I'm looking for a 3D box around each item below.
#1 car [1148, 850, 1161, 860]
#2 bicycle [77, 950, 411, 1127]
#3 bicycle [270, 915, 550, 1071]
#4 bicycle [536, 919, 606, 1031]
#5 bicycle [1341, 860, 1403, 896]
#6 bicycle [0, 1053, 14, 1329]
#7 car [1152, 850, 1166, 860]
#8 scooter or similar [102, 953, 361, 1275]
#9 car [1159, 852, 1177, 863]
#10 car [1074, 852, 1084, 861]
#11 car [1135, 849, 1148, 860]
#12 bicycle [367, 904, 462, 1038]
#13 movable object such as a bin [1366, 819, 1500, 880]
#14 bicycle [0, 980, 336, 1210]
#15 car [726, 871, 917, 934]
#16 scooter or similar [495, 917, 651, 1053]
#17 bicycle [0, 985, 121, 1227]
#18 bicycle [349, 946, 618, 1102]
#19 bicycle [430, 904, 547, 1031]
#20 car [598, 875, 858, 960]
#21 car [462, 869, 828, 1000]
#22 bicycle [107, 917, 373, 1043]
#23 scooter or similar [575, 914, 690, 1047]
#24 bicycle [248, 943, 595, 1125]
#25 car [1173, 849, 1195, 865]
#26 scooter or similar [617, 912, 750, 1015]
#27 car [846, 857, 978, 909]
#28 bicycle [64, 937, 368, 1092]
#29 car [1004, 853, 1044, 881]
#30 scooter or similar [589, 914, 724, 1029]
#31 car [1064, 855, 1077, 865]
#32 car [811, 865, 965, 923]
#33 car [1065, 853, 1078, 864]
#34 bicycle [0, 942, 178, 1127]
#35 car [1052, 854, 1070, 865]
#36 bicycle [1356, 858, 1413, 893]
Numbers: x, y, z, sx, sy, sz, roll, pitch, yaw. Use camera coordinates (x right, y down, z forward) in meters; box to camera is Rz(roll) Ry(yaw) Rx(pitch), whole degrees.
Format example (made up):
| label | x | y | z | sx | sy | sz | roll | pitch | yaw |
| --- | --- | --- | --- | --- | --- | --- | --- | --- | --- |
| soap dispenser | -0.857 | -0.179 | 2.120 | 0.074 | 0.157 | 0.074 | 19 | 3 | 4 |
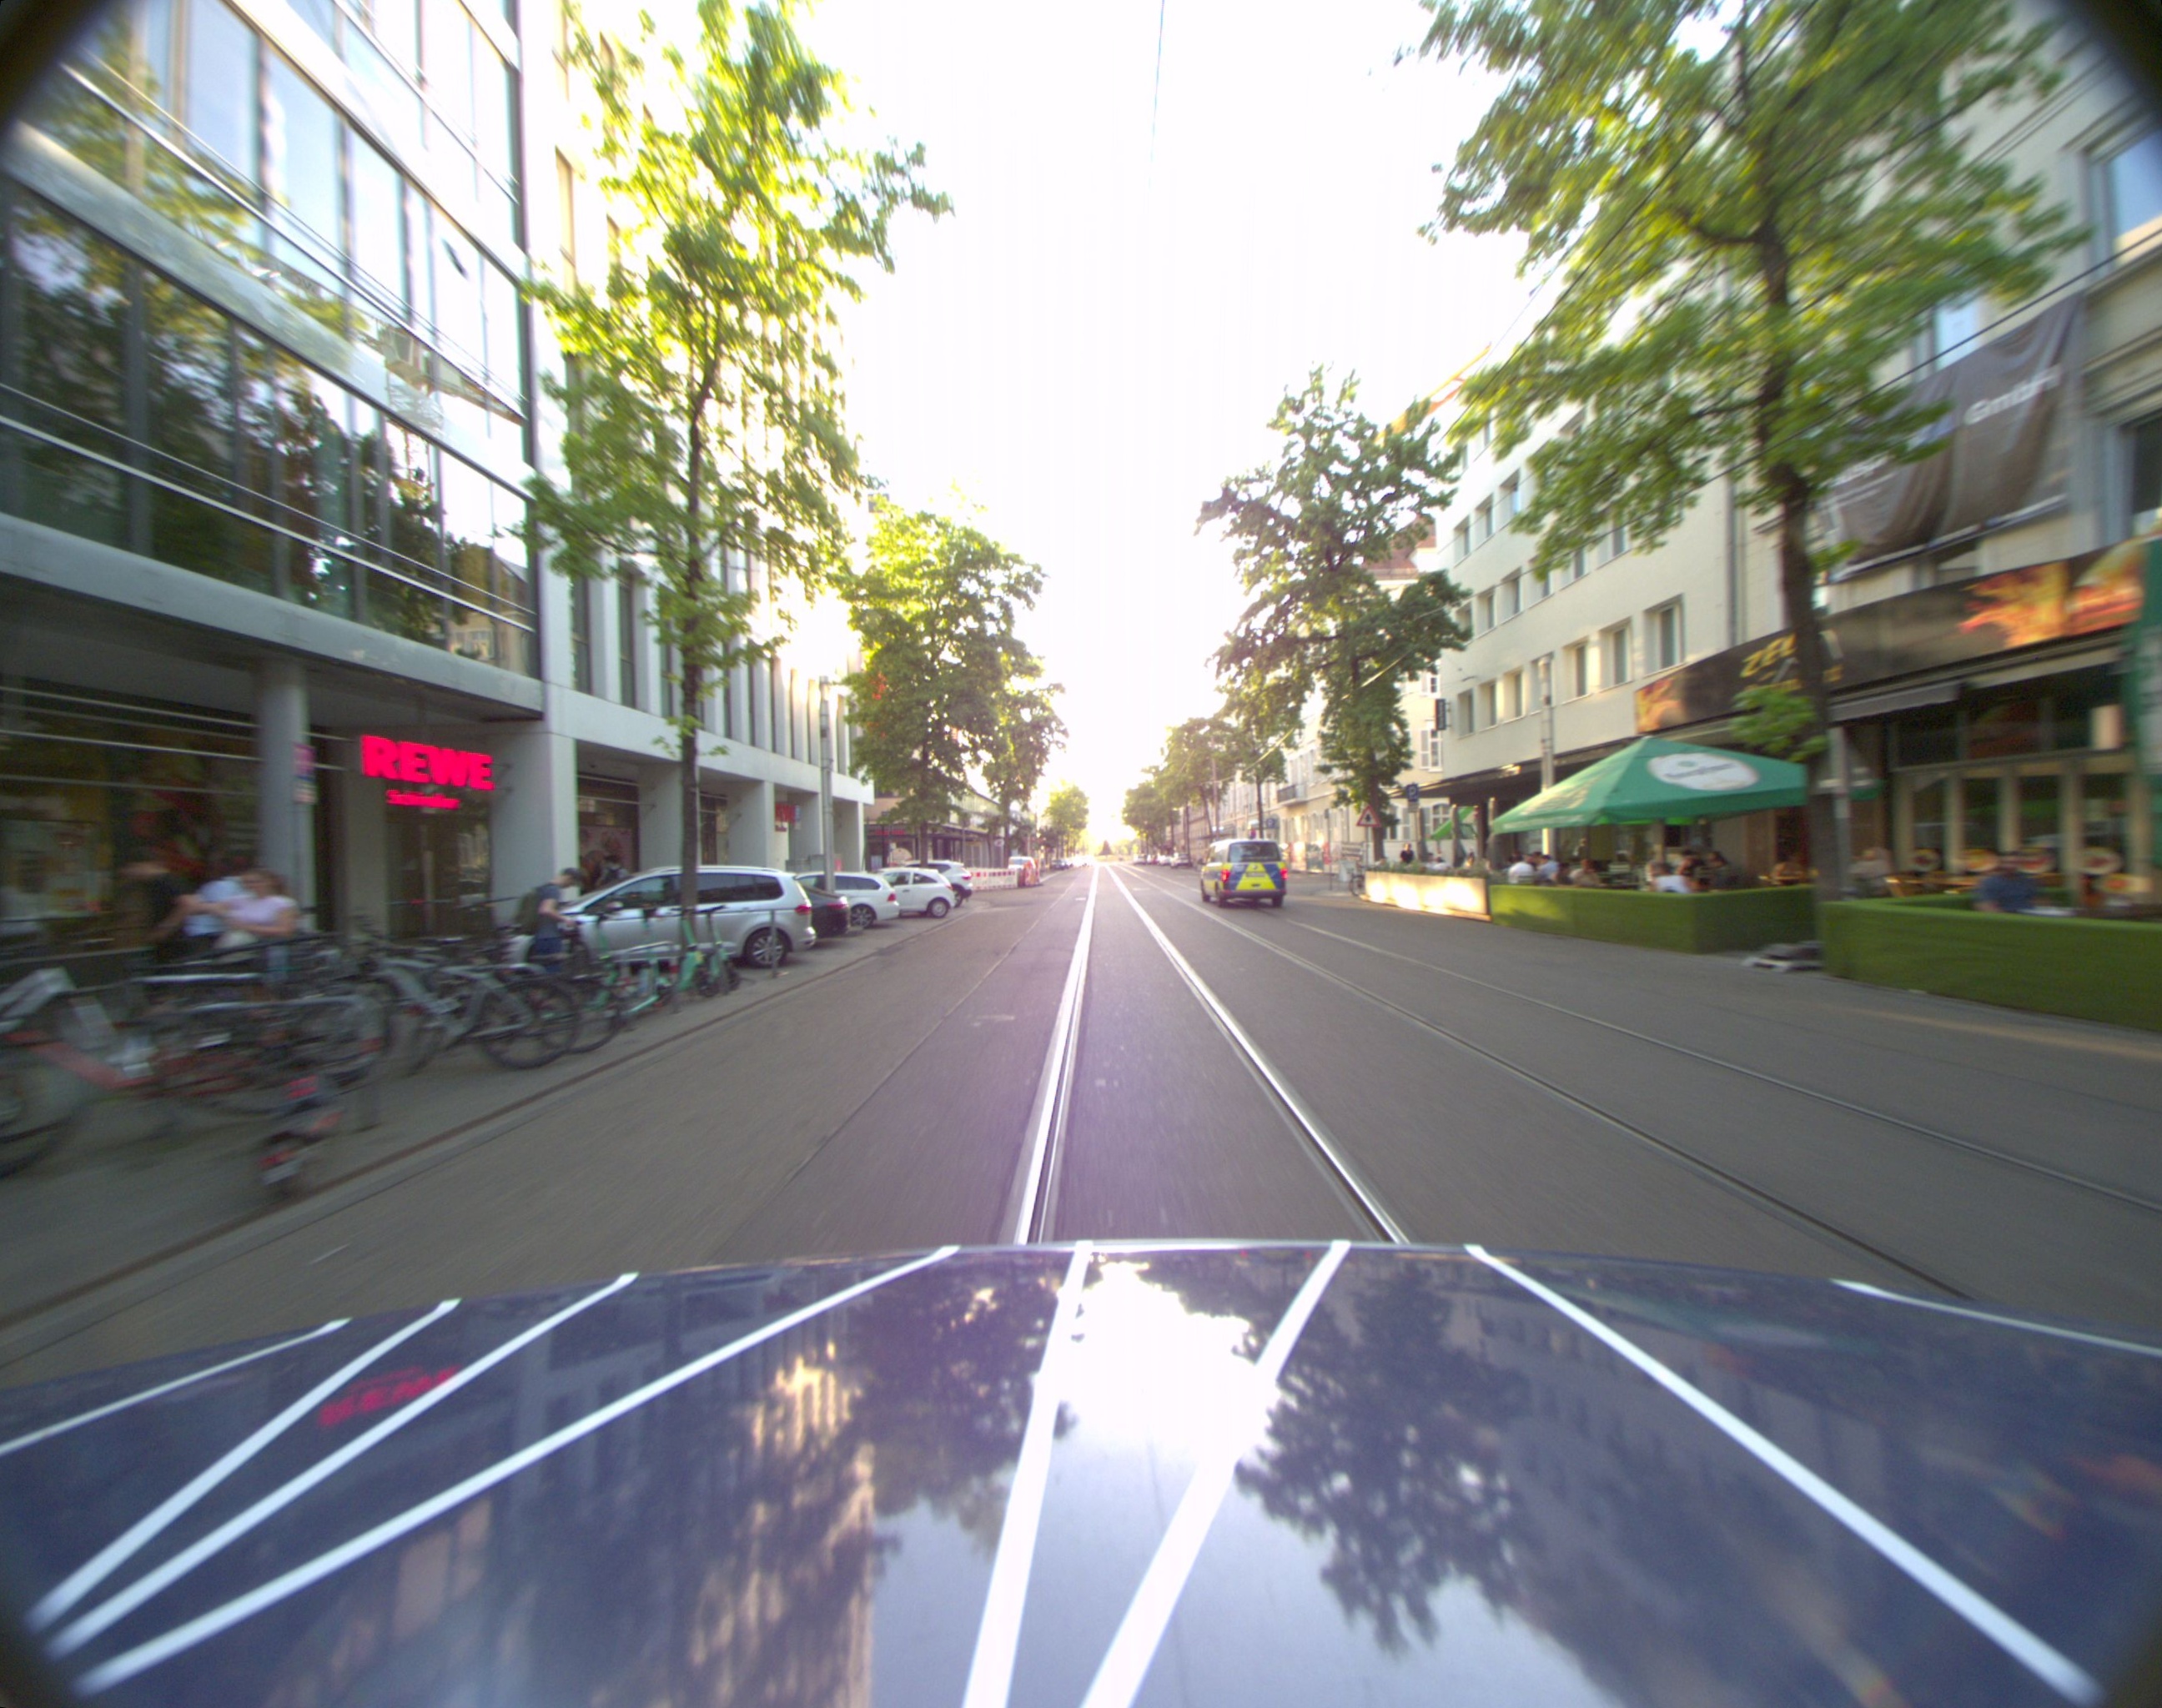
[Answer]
| label | x | y | z | sx | sy | sz | roll | pitch | yaw |
| --- | --- | --- | --- | --- | --- | --- | --- | --- | --- |
| car | 12.557 | 0.169 | 129.395 | 1.998 | 1.540 | 4.106 | -2 | 0 | 3 |
| bicycle | -6.269 | 1.346 | 5.789 | 1.688 | 1.132 | 0.478 | 1 | 0 | -18 |
| bicycle | -6.158 | 1.237 | 7.094 | 1.834 | 1.266 | 0.680 | 1 | 0 | -17 |
| bicycle | -6.149 | 1.388 | 9.166 | 0.632 | 1.070 | 1.875 | 1 | -1 | -34 |
| bicycle | 9.977 | 0.814 | 26.066 | 1.865 | 1.132 | 0.626 | -2 | 1 | -1 |
| bicycle | -5.013 | 1.388 | 2.376 | 1.752 | 1.110 | 0.805 | -1 | 0 | -30 |
| car | 12.599 | 0.181 | 123.393 | 1.998 | 1.567 | 4.106 | -2 | 0 | 3 |
| scooter or similar | -4.624 | 1.291 | 4.252 | 0.698 | 1.296 | 1.389 | -1 | 0 | -37 |
| car | 11.806 | 0.469 | 103.298 | 1.998 | 1.494 | 4.105 | -2 | 0 | 1 |
| car | -0.383 | 0.443 | 142.694 | 1.738 | 1.727 | 4.105 | -2 | 0 | 1 |
| car | 9.990 | 0.115 | 125.163 | 1.998 | 1.727 | 4.106 | -2 | 0 | 3 |
| bicycle | -7.455 | 1.243 | 8.476 | 1.590 | 1.281 | 0.581 | 0 | 0 | 41 |
| movable object such as a bin | 17.683 | -0.247 | 38.395 | 5.561 | 2.856 | 2.643 | -1 | 1 | -1 |
| bicycle | -5.702 | 1.365 | 4.424 | 1.836 | 1.070 | 0.622 | 1 | -1 | -30 |
| car | -6.473 | 1.168 | 19.131 | 4.355 | 1.414 | 1.825 | 1 | 0 | -21 |
| scooter or similar | -5.263 | 1.309 | 7.953 | 0.569 | 1.198 | 1.283 | 0 | 0 | 16 |
| bicycle | -6.582 | 1.332 | 3.899 | 2.002 | 1.141 | 0.697 | 1 | 0 | -17 |
| bicycle | -4.997 | 1.388 | 6.502 | 1.751 | 1.070 | 0.493 | 0 | 0 | -29 |
| bicycle | -6.792 | 1.237 | 8.685 | 1.657 | 1.242 | 0.642 | 0 | 0 | 37 |
| car | -6.718 | 1.166 | 14.942 | 4.355 | 1.414 | 1.951 | 1 | 1 | -20 |
| car | -6.651 | 1.092 | 11.997 | 4.684 | 1.630 | 1.950 | 0 | 0 | -34 |
| bicycle | -9.237 | 1.320 | 8.460 | 0.572 | 1.076 | 1.886 | 0 | 0 | 24 |
| scooter or similar | -4.808 | 1.318 | 8.228 | 0.483 | 1.215 | 1.214 | 1 | 1 | 3 |
| bicycle | -5.108 | 1.352 | 6.092 | 1.997 | 1.123 | 0.679 | 1 | 0 | -29 |
| car | 11.466 | 0.293 | 84.797 | 1.998 | 1.727 | 4.105 | -2 | 0 | 1 |
| scooter or similar | -5.155 | 1.376 | 9.904 | 1.404 | 1.143 | 0.578 | -1 | 0 | -45 |
| car | -6.011 | 0.998 | 26.945 | 4.278 | 1.662 | 1.948 | 1 | 1 | -23 |
| bicycle | -7.193 | 1.305 | 6.395 | 1.696 | 1.143 | 0.501 | 0 | 0 | -14 |
| car | -3.683 | 0.822 | 49.709 | 1.998 | 1.760 | 4.671 | 1 | 0 | 4 |
| scooter or similar | -5.056 | 1.357 | 9.072 | 1.335 | 1.175 | 0.497 | -1 | 0 | -36 |
| car | -1.431 | 0.864 | 104.797 | 1.738 | 1.311 | 4.105 | 0 | 0 | 1 |
| car | -5.636 | 1.114 | 22.251 | 4.074 | 1.492 | 1.791 | 1 | 1 | -28 |
| car | -1.524 | 0.652 | 121.502 | 1.902 | 1.683 | 4.104 | -2 | 0 | -1 |
| bicycle | -7.709 | 1.277 | 5.318 | 1.699 | 1.182 | 0.553 | 1 | 0 | -36 |
| car | -2.477 | 0.680 | 94.626 | 2.002 | 1.354 | 4.105 | 0 | 0 | 1 |
| bicycle | 10.754 | 0.733 | 26.928 | 1.869 | 1.132 | 0.779 | -3 | 1 | -26 |
